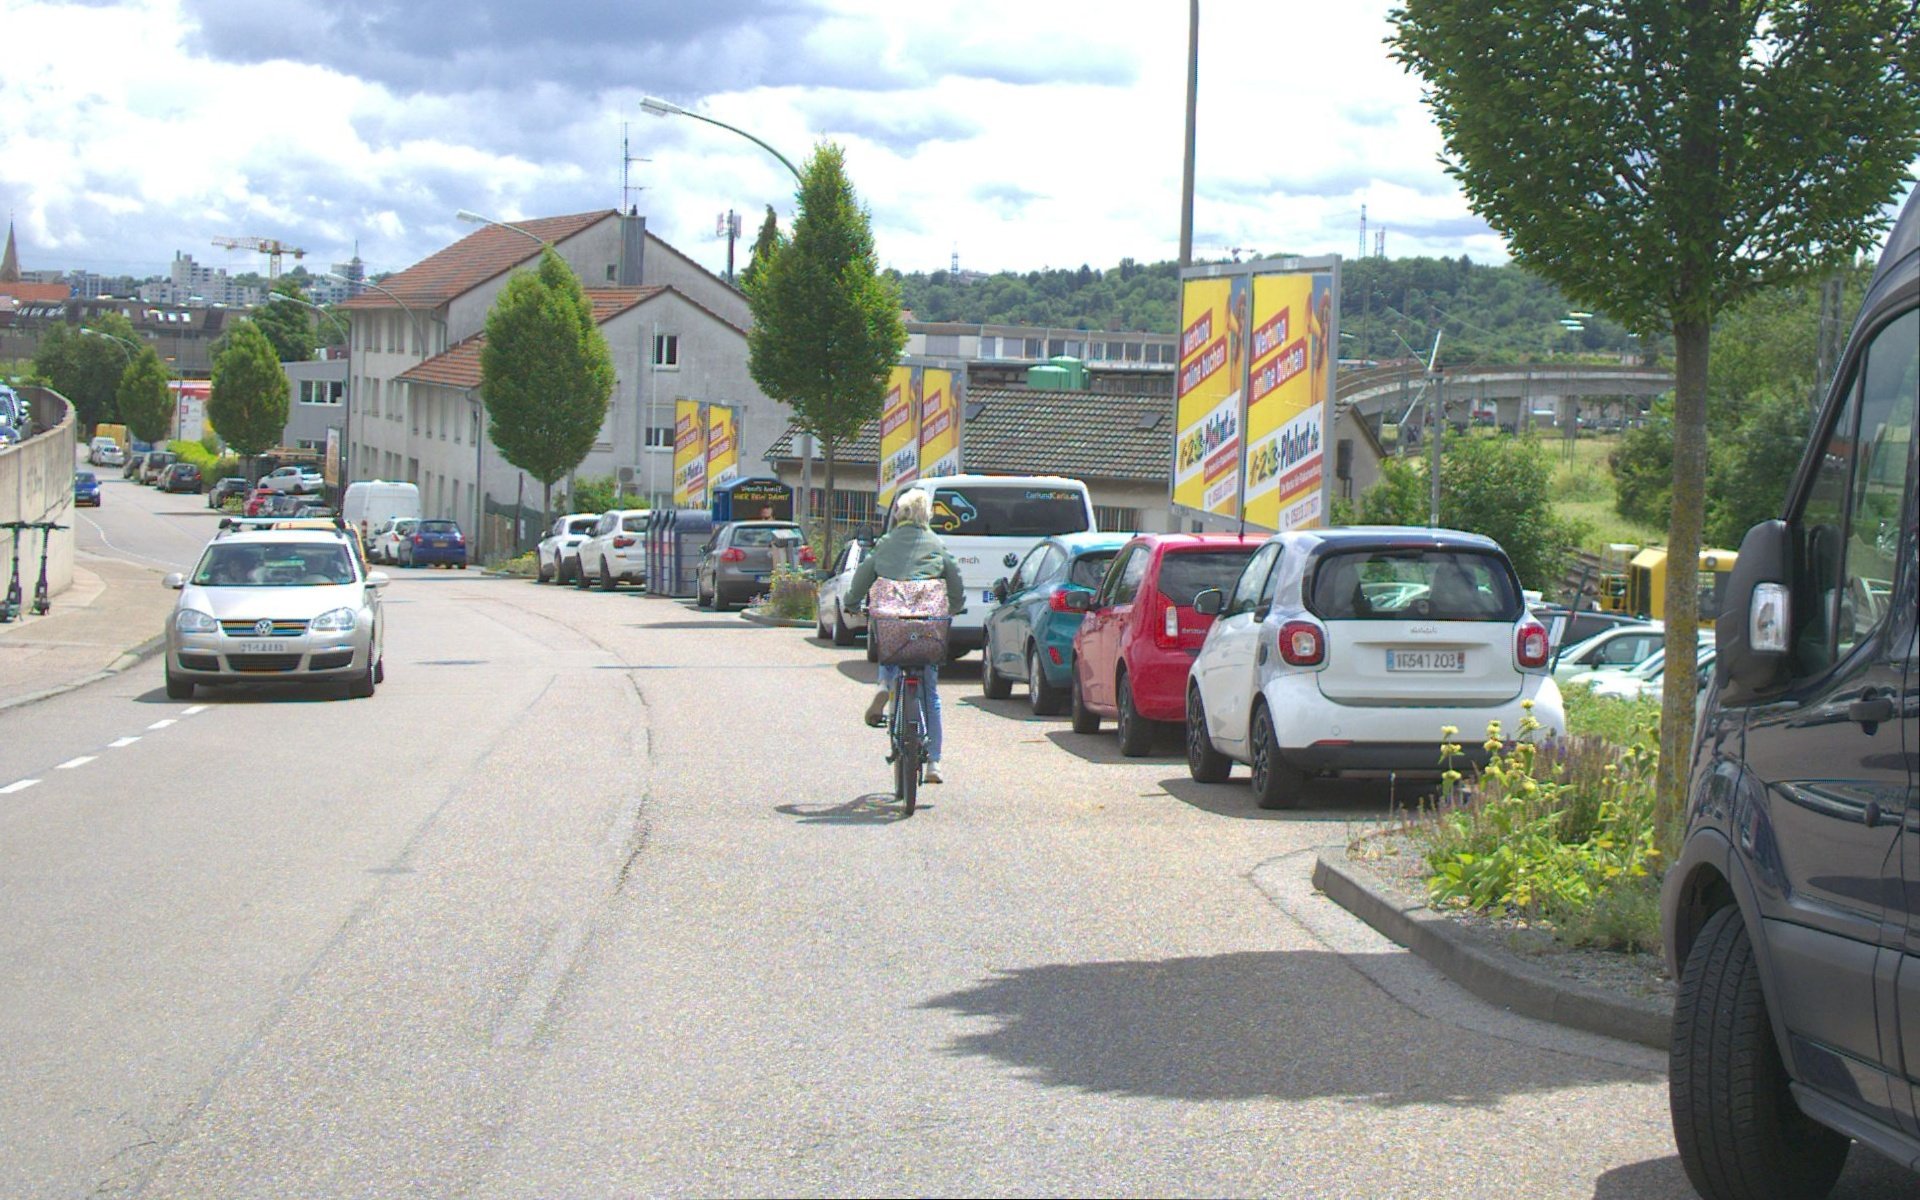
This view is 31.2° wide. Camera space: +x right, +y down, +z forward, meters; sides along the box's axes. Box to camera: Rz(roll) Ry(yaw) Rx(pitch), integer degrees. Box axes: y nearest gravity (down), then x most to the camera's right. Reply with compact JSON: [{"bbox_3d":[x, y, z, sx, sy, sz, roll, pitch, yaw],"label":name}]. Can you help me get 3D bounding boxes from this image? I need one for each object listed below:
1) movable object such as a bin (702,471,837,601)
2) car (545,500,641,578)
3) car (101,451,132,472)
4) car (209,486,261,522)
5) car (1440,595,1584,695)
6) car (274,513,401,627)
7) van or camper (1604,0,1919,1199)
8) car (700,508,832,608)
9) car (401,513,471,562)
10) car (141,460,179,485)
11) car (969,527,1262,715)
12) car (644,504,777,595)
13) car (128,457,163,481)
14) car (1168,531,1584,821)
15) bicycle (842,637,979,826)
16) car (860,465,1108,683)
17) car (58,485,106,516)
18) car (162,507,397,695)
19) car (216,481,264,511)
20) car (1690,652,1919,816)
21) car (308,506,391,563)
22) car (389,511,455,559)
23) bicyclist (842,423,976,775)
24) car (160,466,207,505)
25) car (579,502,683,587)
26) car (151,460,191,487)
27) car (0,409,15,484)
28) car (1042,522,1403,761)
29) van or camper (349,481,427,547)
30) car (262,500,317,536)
[{"bbox_3d":[-3.468,-1.167,62.222,2.134,2.295,2.559,0,1,-10],"label":"movable object such as a bin"},{"bbox_3d":[-8.297,-1.382,77.435,1.842,1.700,4.001,0,1,-10],"label":"car"},{"bbox_3d":[-59.776,-9.799,243.629,1.993,1.415,4.001,-1,1,-15],"label":"car"},{"bbox_3d":[-30.722,-4.060,145.639,1.993,1.459,4.001,-1,1,-14],"label":"car"},{"bbox_3d":[9.068,0.722,56.657,1.620,1.501,3.579,0,1,-3],"label":"car"},{"bbox_3d":[-8.920,-0.465,49.438,1.708,1.568,4.001,0,1,-9],"label":"car"},{"bbox_3d":[2.821,0.149,5.680,2.124,2.576,5.918,1,1,-2],"label":"van or camper"},{"bbox_3d":[-3.294,-0.724,57.666,1.993,1.612,4.001,0,1,-6],"label":"car"},{"bbox_3d":[-15.751,-1.891,103.220,1.993,1.459,4.001,0,1,-10],"label":"car"},{"bbox_3d":[-46.750,-7.446,200.853,1.993,1.415,4.001,-1,1,-15],"label":"car"},{"bbox_3d":[1.216,0.126,28.512,1.903,1.437,3.545,0,1,-6],"label":"car"},{"bbox_3d":[-4.853,-1.003,66.466,2.134,1.700,4.001,0,1,-10],"label":"car"},{"bbox_3d":[-50.483,-8.131,213.077,1.993,1.415,4.001,-1,1,-15],"label":"car"},{"bbox_3d":[2.283,0.369,19.551,1.793,1.501,2.907,0,1,-5],"label":"car"},{"bbox_3d":[-0.282,0.676,18.431,0.687,0.875,2.102,0,1,-2],"label":"bicycle"},{"bbox_3d":[0.159,-0.304,35.142,1.993,2.007,4.919,2,1,-5],"label":"car"},{"bbox_3d":[-40.988,-4.629,160.506,1.993,1.415,4.001,-1,1,-12],"label":"car"},{"bbox_3d":[-6.017,-0.041,30.792,1.702,1.556,4.329,0,1,-6],"label":"car"},{"bbox_3d":[-33.853,-4.880,161.610,1.993,1.415,4.001,-1,1,-15],"label":"car"},{"bbox_3d":[9.034,1.378,36.526,1.620,1.501,3.579,0,1,-3],"label":"car"},{"bbox_3d":[-17.907,-1.923,100.703,1.993,1.612,4.001,-1,1,-16],"label":"car"},{"bbox_3d":[-16.924,-2.057,108.027,1.993,1.459,4.001,0,1,-10],"label":"car"},{"bbox_3d":[-0.282,-0.017,18.353,0.684,1.819,1.081,0,1,-2],"label":"bicyclist"},{"bbox_3d":[-42.267,-6.243,187.169,1.993,2.007,4.002,3,1,-18],"label":"car"},{"bbox_3d":[-6.895,-1.178,71.740,1.813,1.700,4.001,0,1,-10],"label":"car"},{"bbox_3d":[-43.906,-7.040,191.343,1.993,1.415,4.001,-1,1,-15],"label":"car"},{"bbox_3d":[-18.034,-2.799,62.226,1.669,1.319,3.720,0,3,-14],"label":"car"},{"bbox_3d":[1.727,0.218,23.910,1.875,1.503,4.001,0,1,-5],"label":"car"},{"bbox_3d":[-18.703,-2.829,112.271,1.993,2.007,4.002,3,1,-16],"label":"van or camper"},{"bbox_3d":[-27.234,-3.332,139.577,1.993,1.459,4.001,-1,1,-14],"label":"car"}]
